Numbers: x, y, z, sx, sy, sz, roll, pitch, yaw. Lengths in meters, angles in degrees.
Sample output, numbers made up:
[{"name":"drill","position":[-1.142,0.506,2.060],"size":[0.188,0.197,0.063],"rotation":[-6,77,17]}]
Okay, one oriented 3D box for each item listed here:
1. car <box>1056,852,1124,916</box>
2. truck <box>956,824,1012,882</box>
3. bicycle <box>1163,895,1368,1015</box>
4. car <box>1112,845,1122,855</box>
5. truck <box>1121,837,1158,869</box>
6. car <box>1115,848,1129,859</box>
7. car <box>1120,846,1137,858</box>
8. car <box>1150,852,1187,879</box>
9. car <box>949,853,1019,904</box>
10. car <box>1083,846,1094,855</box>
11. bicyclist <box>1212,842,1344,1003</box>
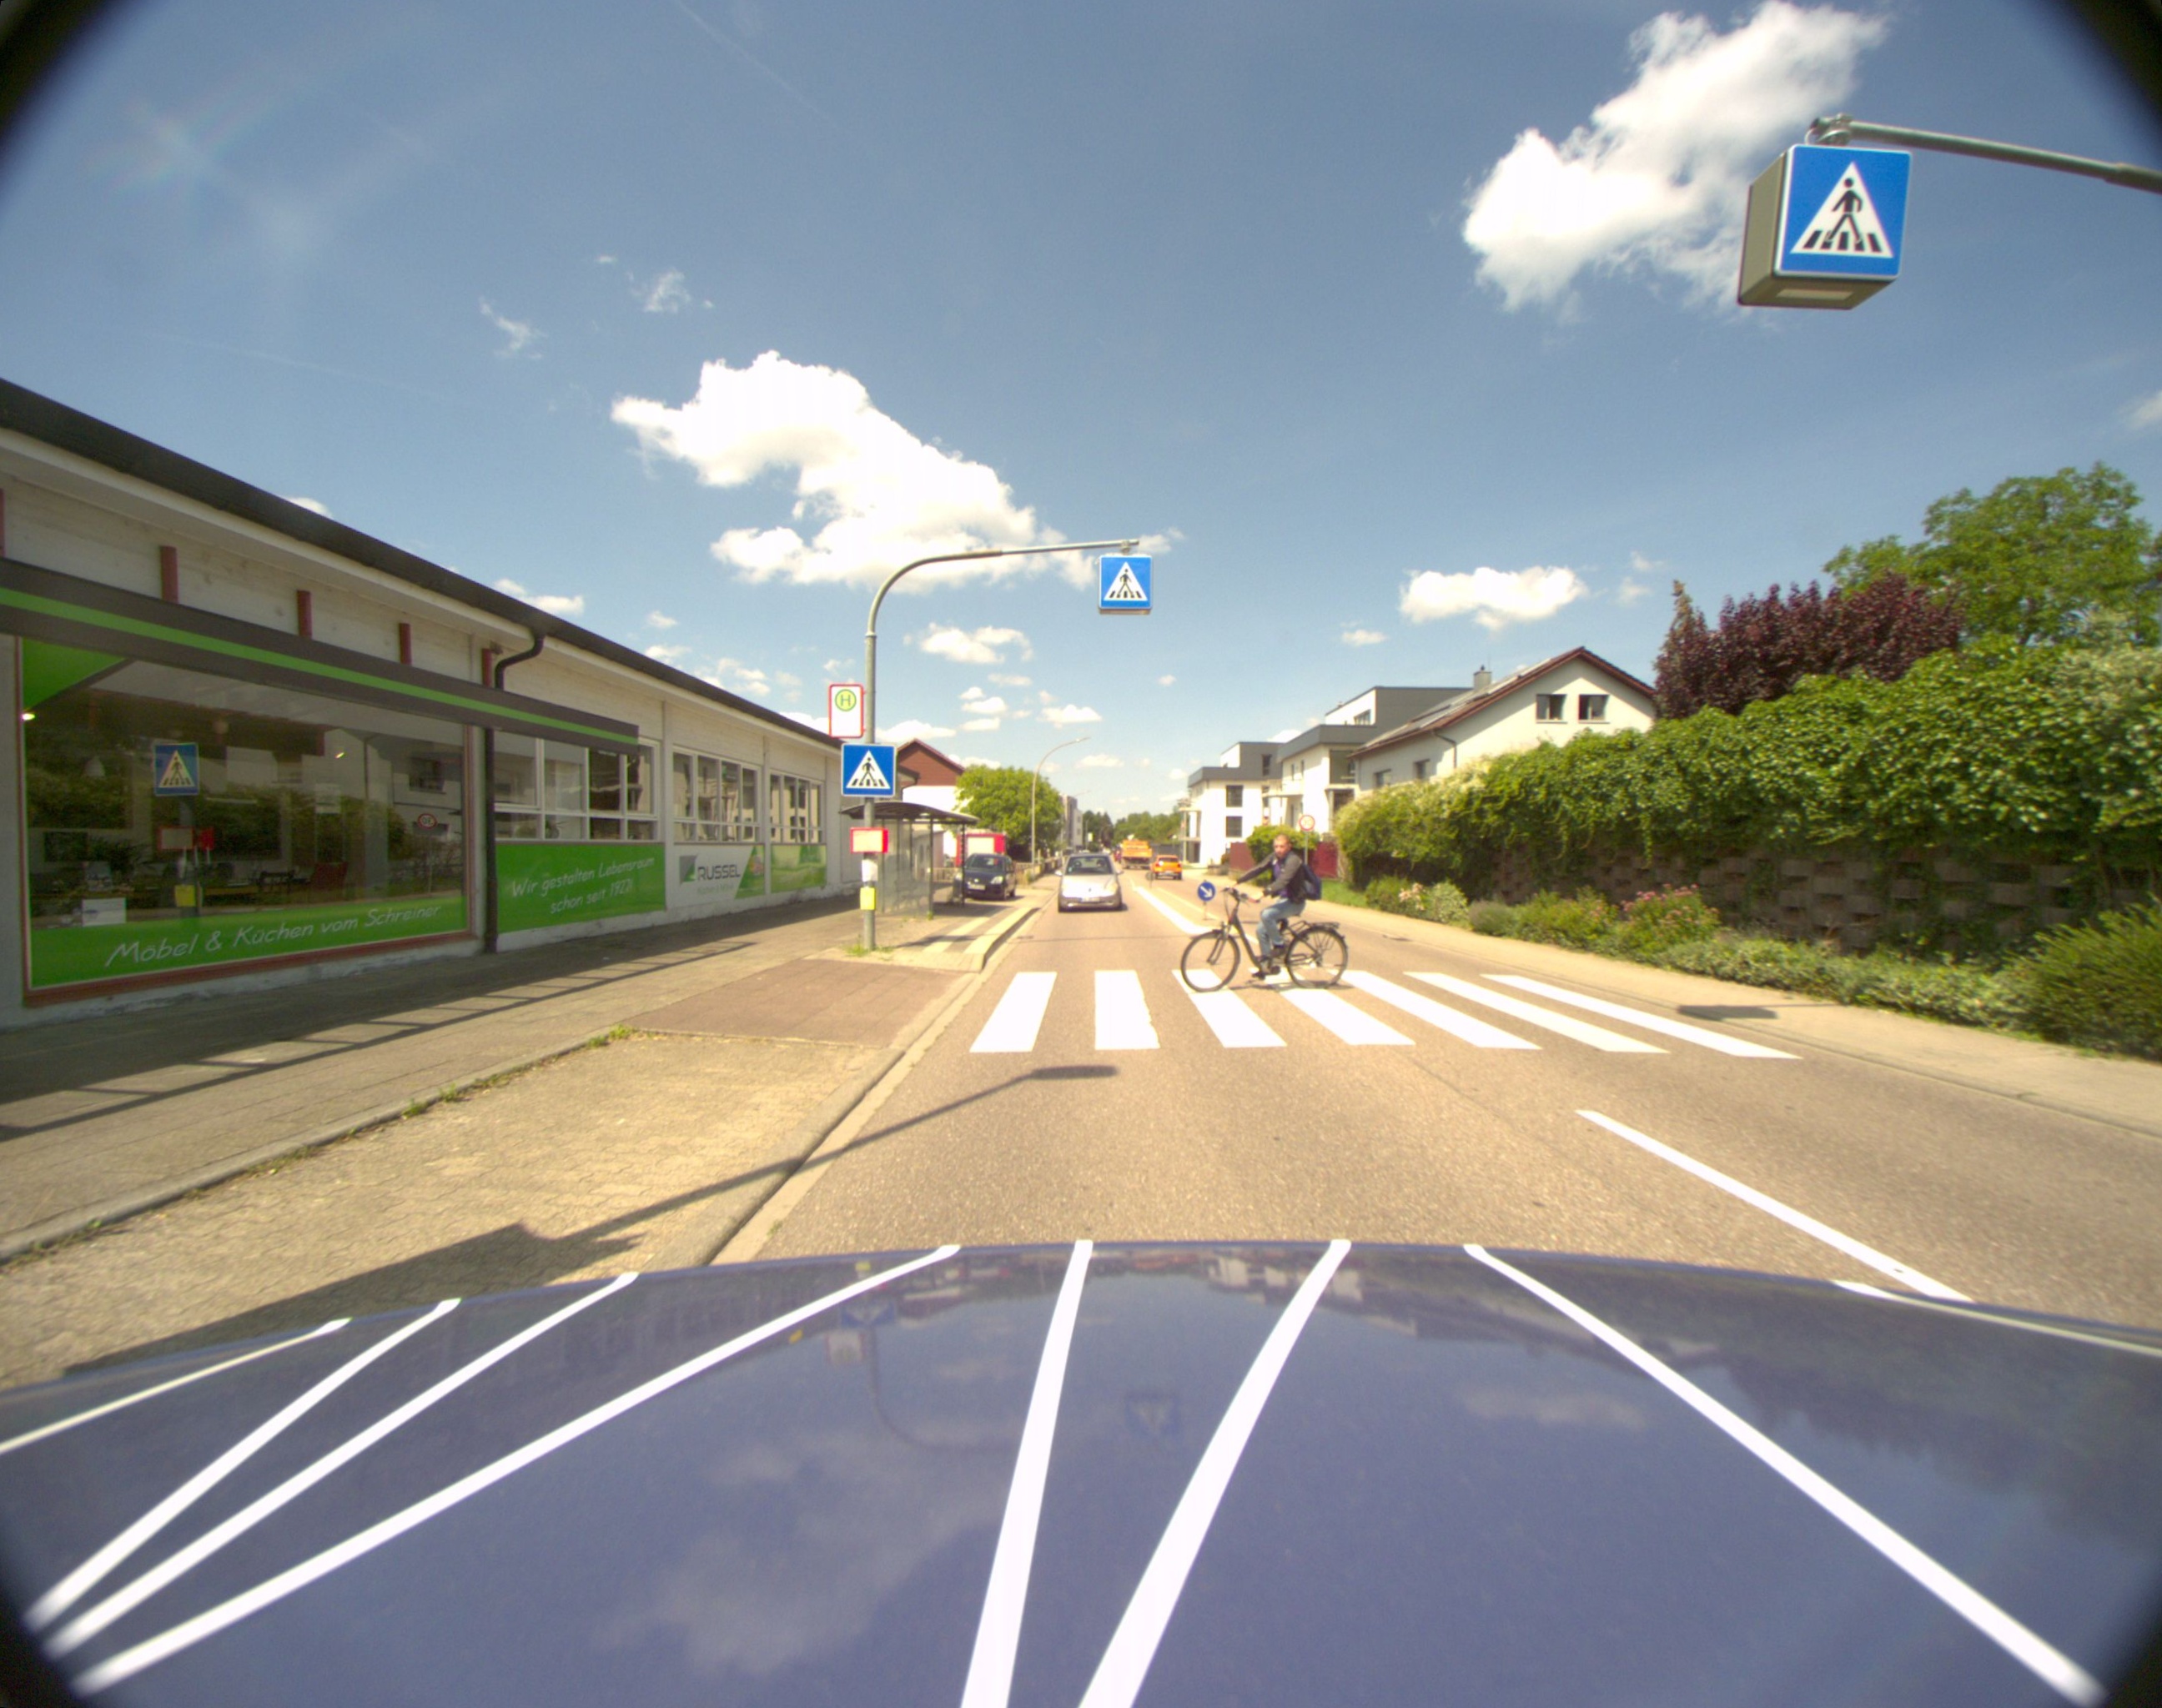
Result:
[{"name":"car","position":[0.263,0.788,21.724],"size":[1.723,1.590,3.759],"rotation":[-2,1,0]},{"name":"truck","position":[-4.976,-0.090,39.861],"size":[2.580,2.745,6.331],"rotation":[1,1,-5]},{"name":"bicycle","position":[1.939,1.056,8.137],"size":[1.943,1.158,0.805],"rotation":[1,1,-8]},{"name":"car","position":[6.809,-0.726,144.961],"size":[1.735,1.863,3.613],"rotation":[2,1,0]},{"name":"truck","position":[5.324,-0.148,70.464],"size":[2.864,2.695,6.790],"rotation":[2,1,0]},{"name":"car","position":[5.766,-0.090,107.078],"size":[1.735,1.509,3.613],"rotation":[2,1,0]},{"name":"car","position":[5.796,-0.251,92.939],"size":[1.735,1.509,3.613],"rotation":[2,1,0]},{"name":"car","position":[5.236,0.656,45.898],"size":[1.799,1.480,3.613],"rotation":[2,1,0]},{"name":"car","position":[-3.082,0.726,24.848],"size":[1.729,1.484,3.759],"rotation":[1,1,0]},{"name":"car","position":[1.328,-0.569,135.395],"size":[1.729,1.484,3.760],"rotation":[1,1,3]},{"name":"bicyclist","position":[2.075,0.700,8.127],"size":[1.111,1.620,0.805],"rotation":[1,1,-8]}]
